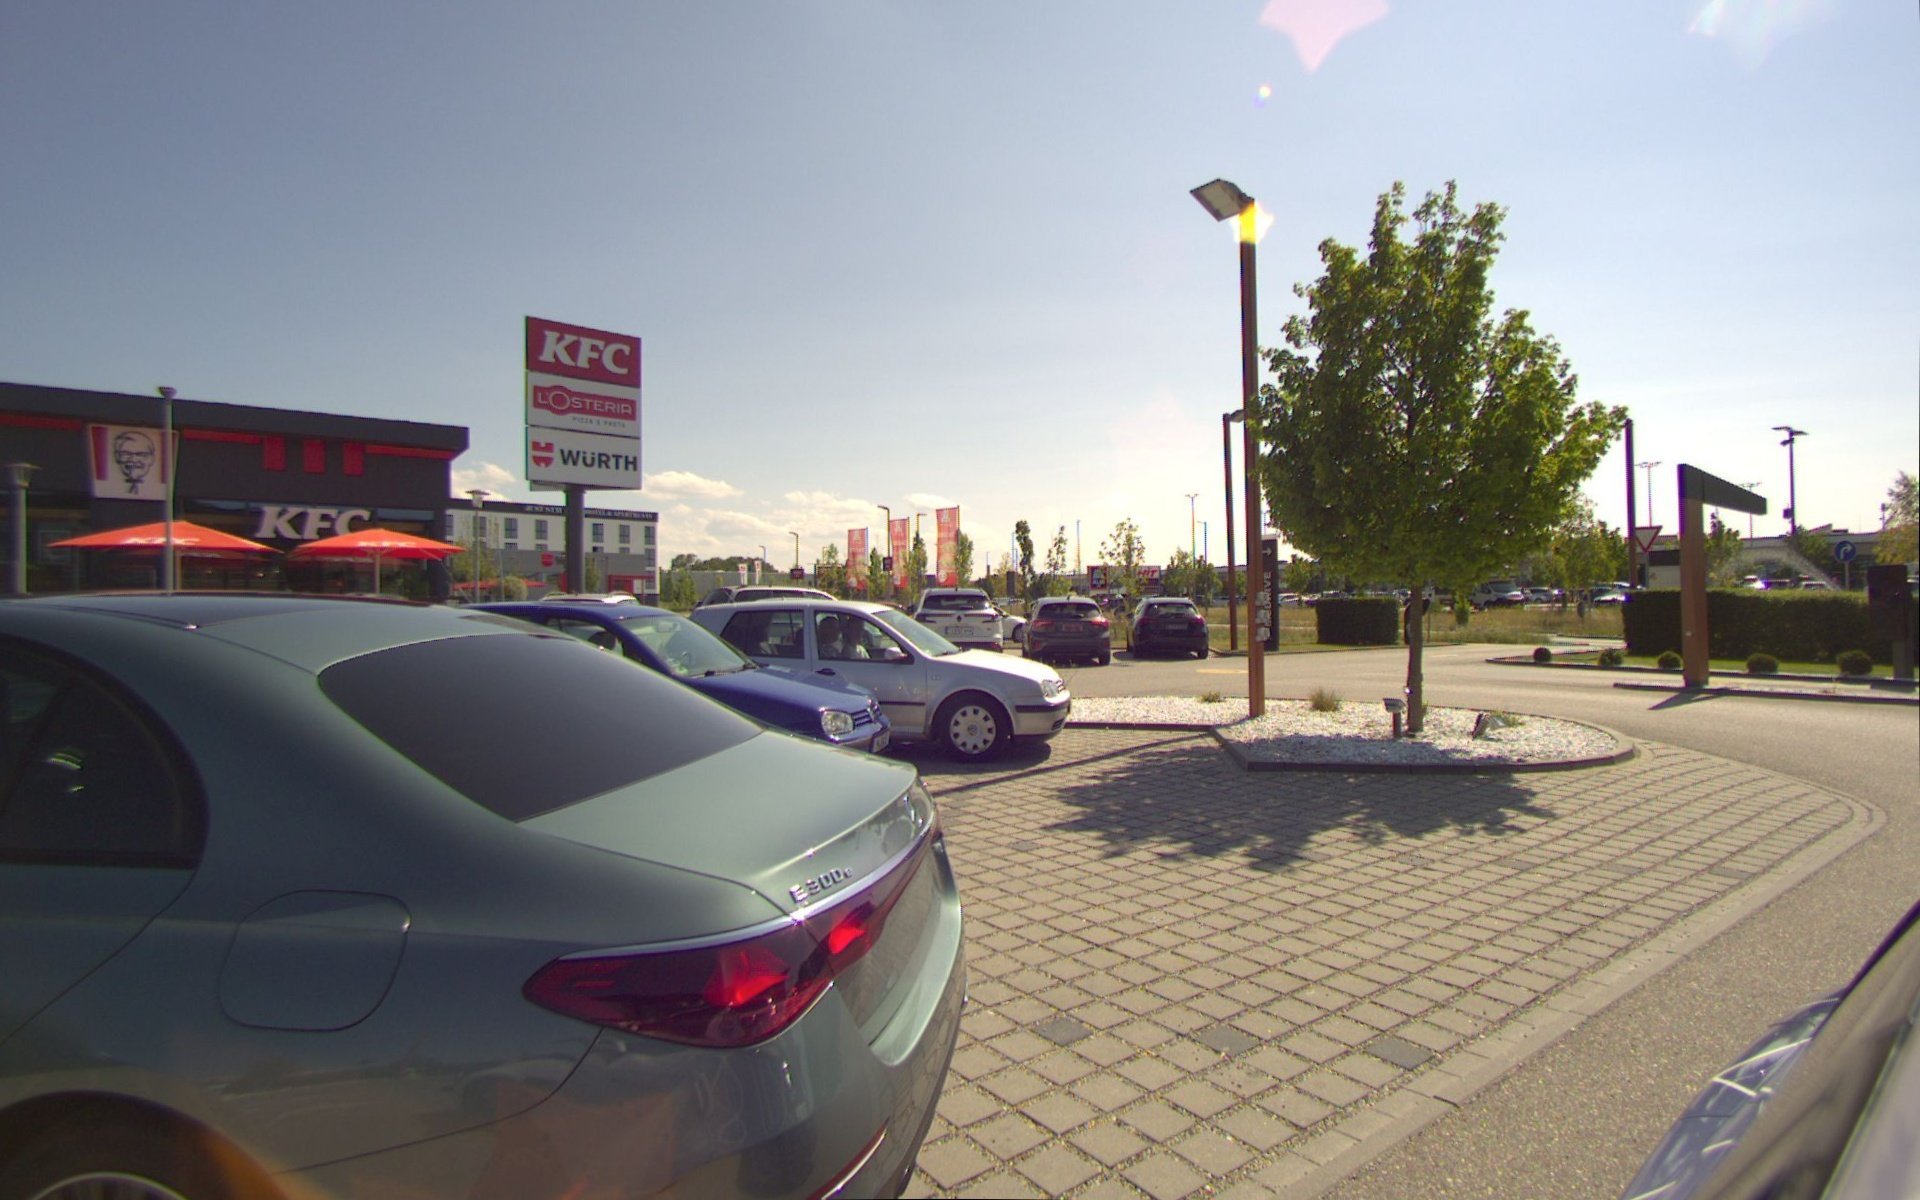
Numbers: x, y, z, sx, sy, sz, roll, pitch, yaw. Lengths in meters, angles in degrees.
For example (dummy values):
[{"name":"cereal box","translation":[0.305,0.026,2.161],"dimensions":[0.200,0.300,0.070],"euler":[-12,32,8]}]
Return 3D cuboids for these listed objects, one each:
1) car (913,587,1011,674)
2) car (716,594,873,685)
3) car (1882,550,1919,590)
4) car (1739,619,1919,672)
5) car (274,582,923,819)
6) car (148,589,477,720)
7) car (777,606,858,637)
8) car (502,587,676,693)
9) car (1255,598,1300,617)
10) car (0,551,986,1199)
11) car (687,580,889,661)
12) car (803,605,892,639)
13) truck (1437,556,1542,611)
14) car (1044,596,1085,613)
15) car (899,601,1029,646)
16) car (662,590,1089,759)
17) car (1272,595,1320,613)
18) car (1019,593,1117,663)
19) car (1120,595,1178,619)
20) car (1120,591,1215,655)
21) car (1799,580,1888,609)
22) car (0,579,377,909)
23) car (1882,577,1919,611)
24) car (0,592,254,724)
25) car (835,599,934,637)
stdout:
[{"name":"car","translation":[-0.060,0.562,20.640],"dimensions":[1.771,1.576,4.057],"euler":[-1,0,-3]},{"name":"car","translation":[-2.820,0.627,18.298],"dimensions":[1.682,1.429,4.675],"euler":[-1,0,5]},{"name":"car","translation":[56.790,-1.731,57.244],"dimensions":[2.259,2.273,6.566],"euler":[0,0,-38]},{"name":"car","translation":[26.343,1.324,30.511],"dimensions":[1.706,1.440,4.312],"euler":[0,0,-43]},{"name":"car","translation":[-2.599,0.671,7.847],"dimensions":[4.343,1.530,1.979],"euler":[-1,0,9]},{"name":"car","translation":[-8.475,0.635,13.735],"dimensions":[1.787,1.508,3.997],"euler":[-1,0,3]},{"name":"car","translation":[-7.133,1.060,50.756],"dimensions":[3.680,1.472,1.689],"euler":[0,0,-30]},{"name":"car","translation":[-6.074,0.595,17.092],"dimensions":[1.743,1.530,4.357],"euler":[-1,0,-6]},{"name":"car","translation":[26.404,0.603,84.200],"dimensions":[3.154,1.576,1.543],"euler":[-1,0,-10]},{"name":"car","translation":[-2.260,0.722,2.594],"dimensions":[4.467,1.530,1.882],"euler":[-1,0,9]},{"name":"car","translation":[-4.056,0.438,24.095],"dimensions":[4.286,1.772,2.071],"euler":[0,0,-37]},{"name":"car","translation":[-5.118,0.972,46.097],"dimensions":[3.680,1.472,1.689],"euler":[0,0,-30]},{"name":"truck","translation":[34.521,-1.040,66.294],"dimensions":[2.374,3.394,7.572],"euler":[-1,0,-4]},{"name":"car","translation":[9.149,0.371,88.893],"dimensions":[1.724,1.482,4.007],"euler":[0,0,-24]},{"name":"car","translation":[0.152,0.765,34.822],"dimensions":[4.072,1.416,1.890],"euler":[0,0,-30]},{"name":"car","translation":[-0.720,0.641,9.825],"dimensions":[3.840,1.444,1.701],"euler":[0,0,10]},{"name":"car","translation":[26.008,0.300,78.422],"dimensions":[3.154,1.402,1.543],"euler":[-1,0,-10]},{"name":"car","translation":[2.353,0.579,22.942],"dimensions":[1.763,1.440,4.086],"euler":[-1,0,0]},{"name":"car","translation":[12.611,0.478,67.751],"dimensions":[1.766,1.579,3.778],"euler":[0,0,-31]},{"name":"car","translation":[5.047,0.532,25.052],"dimensions":[1.880,1.440,3.769],"euler":[-1,0,6]},{"name":"car","translation":[56.147,-0.338,64.372],"dimensions":[4.171,1.750,1.896],"euler":[-1,0,-6]},{"name":"car","translation":[-6.120,0.688,6.020],"dimensions":[4.343,1.530,1.979],"euler":[-1,0,9]},{"name":"car","translation":[50.541,-0.300,52.352],"dimensions":[1.861,1.750,3.993],"euler":[0,0,-41]},{"name":"car","translation":[-11.092,0.635,12.499],"dimensions":[1.788,1.421,3.995],"euler":[-1,0,4]},{"name":"car","translation":[-3.096,0.726,41.475],"dimensions":[3.680,1.472,1.689],"euler":[0,0,-30]}]
